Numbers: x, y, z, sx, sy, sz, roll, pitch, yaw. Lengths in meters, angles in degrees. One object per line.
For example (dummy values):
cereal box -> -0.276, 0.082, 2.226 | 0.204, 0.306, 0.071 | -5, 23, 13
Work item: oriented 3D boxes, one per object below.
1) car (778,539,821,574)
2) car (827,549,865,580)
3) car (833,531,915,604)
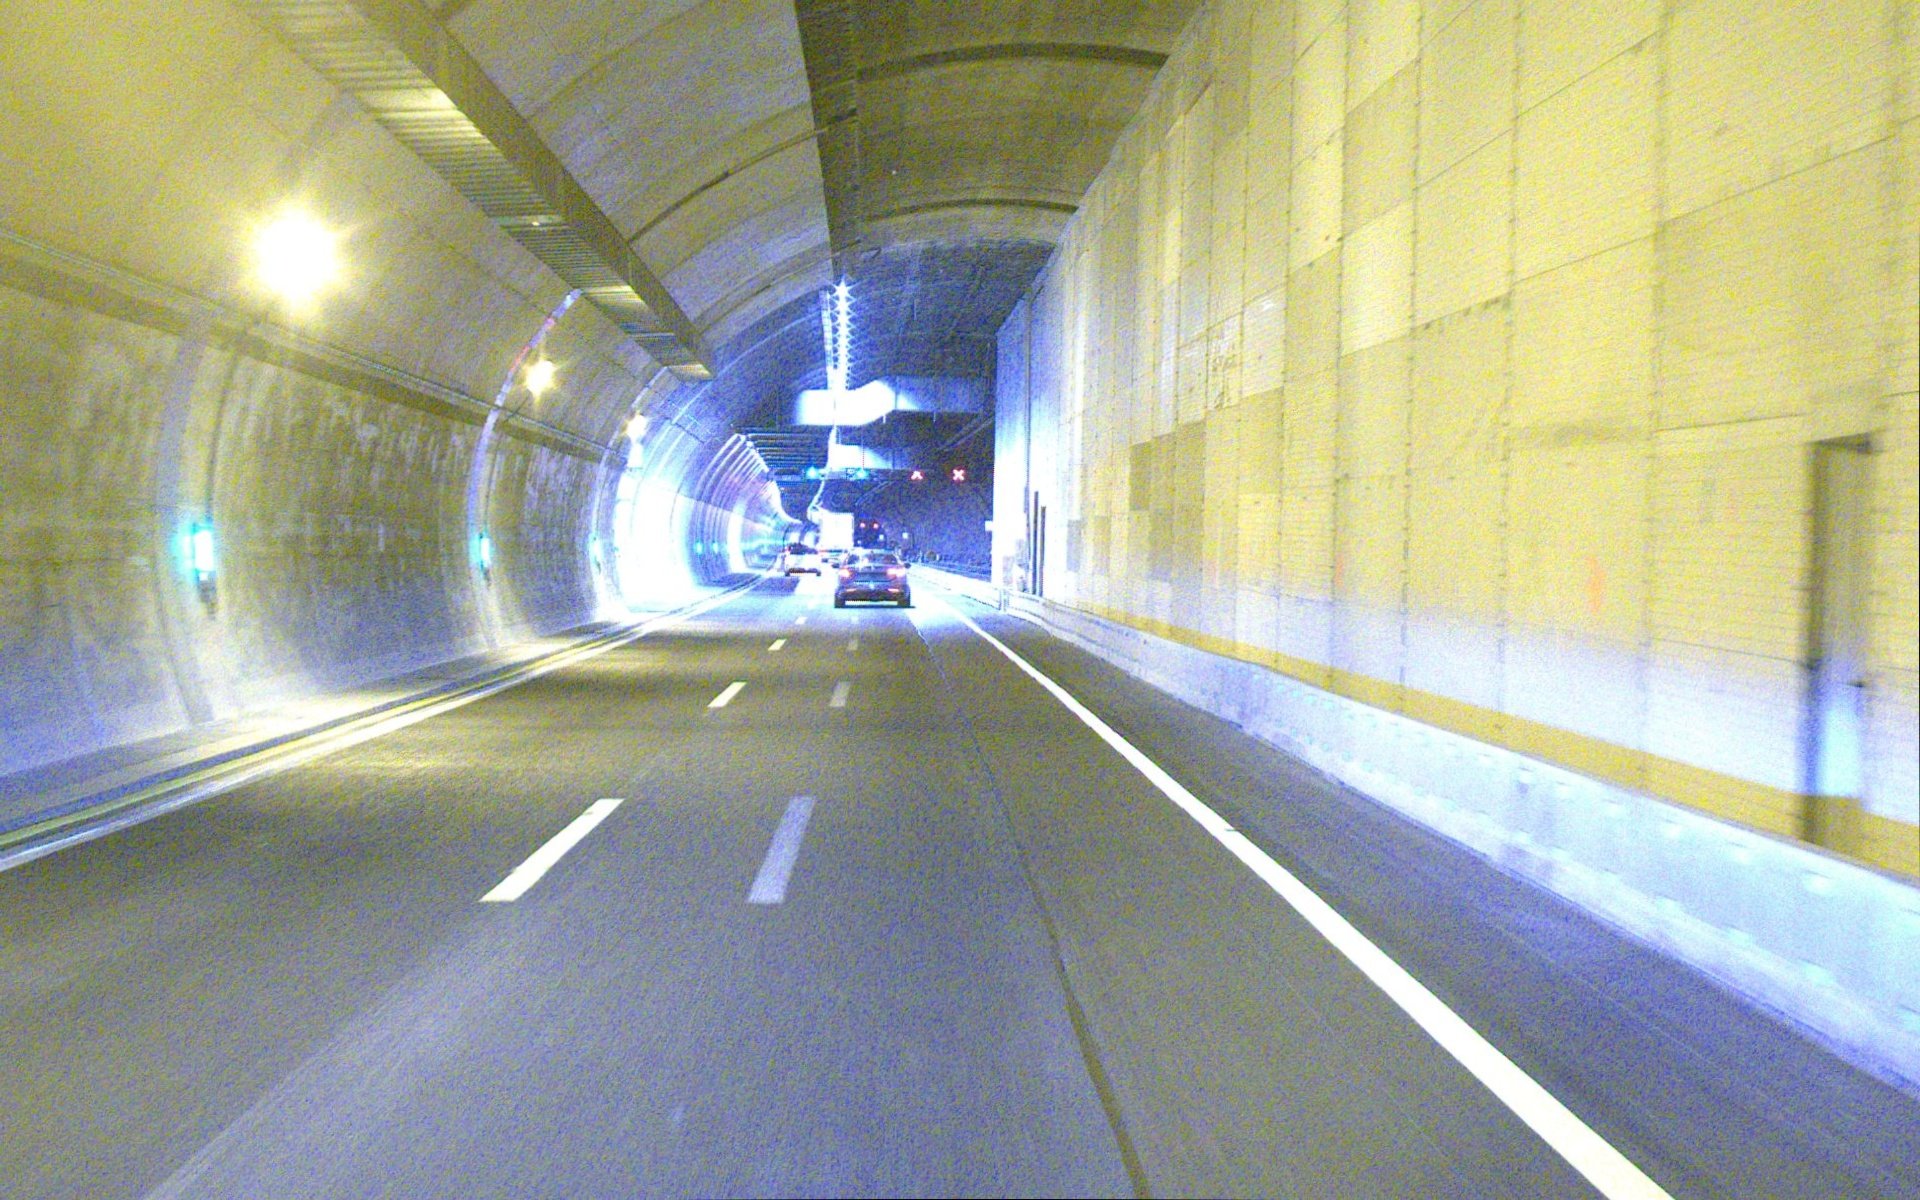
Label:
car -> -7.864, -2.149, 168.590 | 1.930, 1.681, 4.000 | 0, 1, 0
car -> -6.376, -2.012, 192.574 | 1.930, 1.681, 4.000 | 0, 1, 0
car -> -2.117, -0.829, 85.634 | 1.947, 1.788, 4.000 | 0, 1, 0
